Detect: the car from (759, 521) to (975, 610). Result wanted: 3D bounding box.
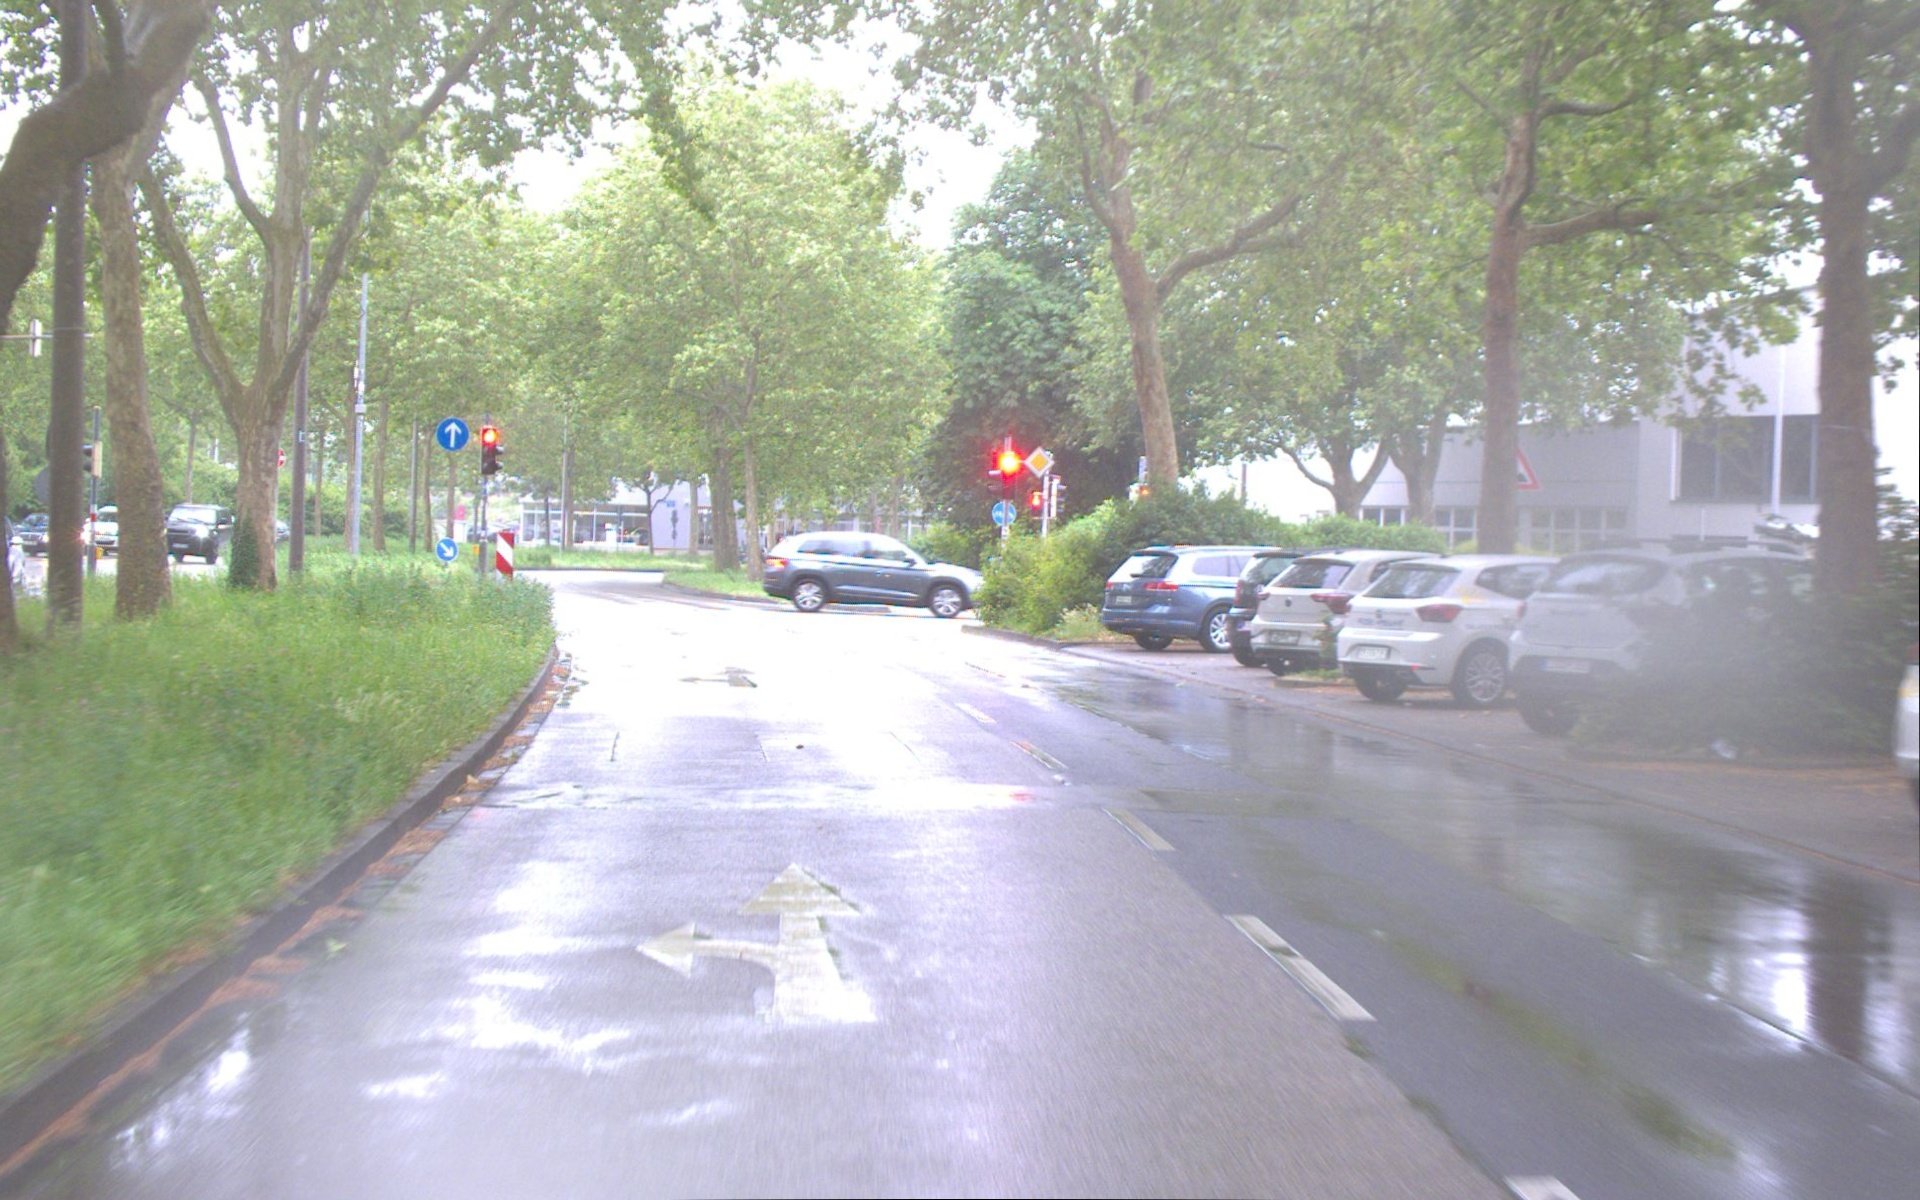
[{"bbox_3d":[-1.887,-0.708,70.905,4.292,1.644,1.749,2,0,2],"label":"car"}]

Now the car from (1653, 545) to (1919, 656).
[{"bbox_3d":[14.521,0.006,59.522,4.536,1.751,1.781,2,0,-11],"label":"car"}]

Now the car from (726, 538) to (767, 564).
[{"bbox_3d":[-12.391,-2.844,199.759,1.587,1.368,4.261,2,0,7],"label":"car"}]

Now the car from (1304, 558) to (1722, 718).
[{"bbox_3d":[5.373,0.377,33.317,3.680,1.411,1.749,2,0,-30],"label":"car"}]

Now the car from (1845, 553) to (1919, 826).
[{"bbox_3d":[6.933,0.535,18.833,4.025,1.423,1.749,2,0,-34],"label":"car"}]

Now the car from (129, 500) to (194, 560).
[{"bbox_3d":[-26.157,-2.275,112.725,1.743,1.835,5.122,2,0,-10],"label":"car"}]

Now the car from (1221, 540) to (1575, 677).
[{"bbox_3d":[4.966,0.104,38.852,3.681,1.411,1.775,2,0,-34],"label":"car"}]

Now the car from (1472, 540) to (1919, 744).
[{"bbox_3d":[6.299,0.355,28.163,4.025,1.534,1.749,2,0,-35],"label":"car"}]

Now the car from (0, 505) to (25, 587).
[{"bbox_3d":[-19.802,-1.104,68.931,1.743,1.586,4.331,2,0,-12],"label":"car"}]

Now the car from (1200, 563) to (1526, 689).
[{"bbox_3d":[4.957,0.324,42.138,3.681,1.411,1.749,2,0,-34],"label":"car"}]

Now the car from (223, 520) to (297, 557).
[{"bbox_3d":[-27.722,-2.424,136.245,1.587,1.368,4.261,2,0,7],"label":"car"}]

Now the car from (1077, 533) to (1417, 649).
[{"bbox_3d":[4.018,-0.116,47.849,4.481,1.454,1.749,2,0,-30],"label":"car"}]
